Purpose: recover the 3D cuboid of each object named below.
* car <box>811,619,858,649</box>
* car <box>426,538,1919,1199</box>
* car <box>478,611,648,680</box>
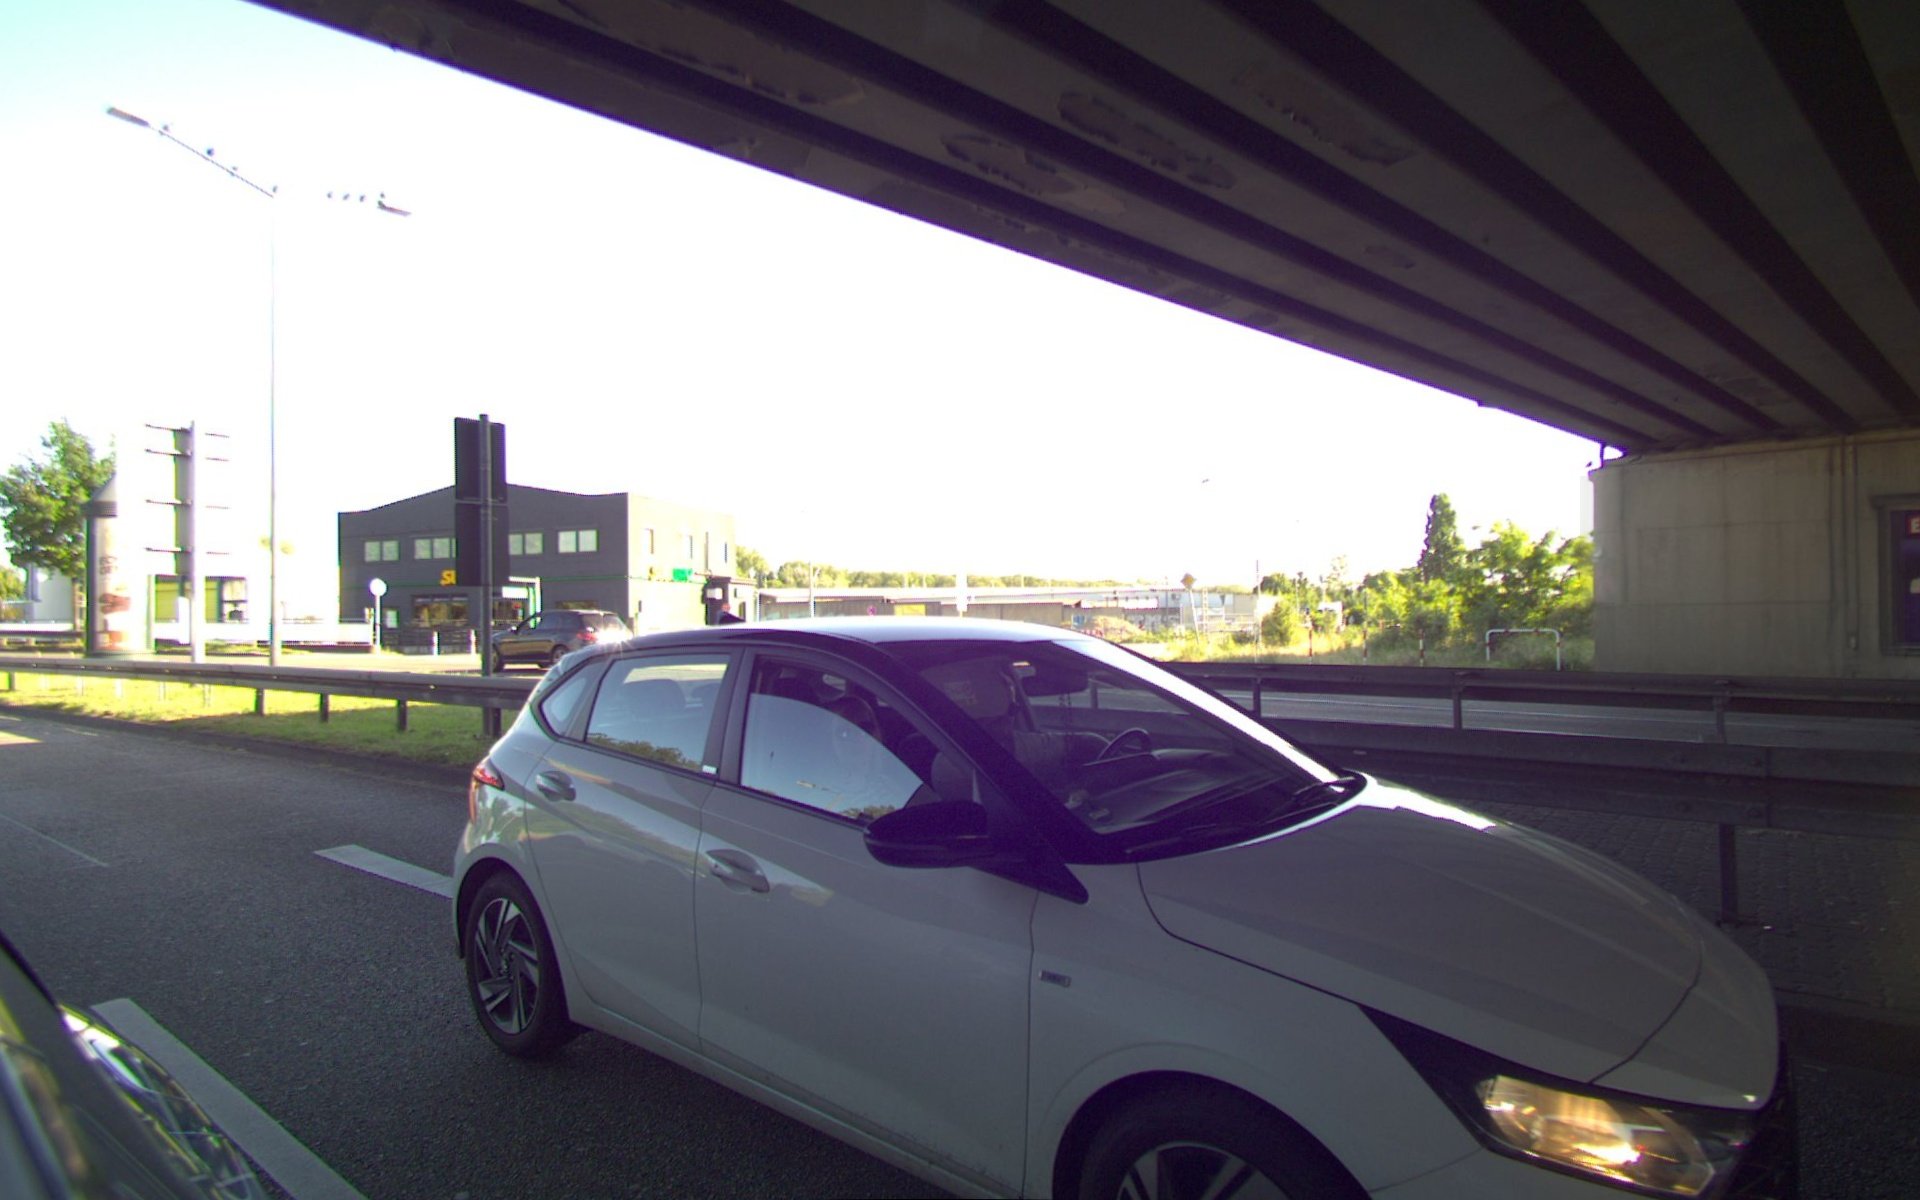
[{"bbox_3d":[-6.748,1.819,54.841,1.858,1.453,3.996,-1,0,3],"label":"car"},{"bbox_3d":[0.143,0.692,3.030,3.867,1.414,1.715,-2,-1,39],"label":"car"},{"bbox_3d":[-10.446,1.143,26.561,4.347,1.629,1.839,-1,0,30],"label":"car"}]
